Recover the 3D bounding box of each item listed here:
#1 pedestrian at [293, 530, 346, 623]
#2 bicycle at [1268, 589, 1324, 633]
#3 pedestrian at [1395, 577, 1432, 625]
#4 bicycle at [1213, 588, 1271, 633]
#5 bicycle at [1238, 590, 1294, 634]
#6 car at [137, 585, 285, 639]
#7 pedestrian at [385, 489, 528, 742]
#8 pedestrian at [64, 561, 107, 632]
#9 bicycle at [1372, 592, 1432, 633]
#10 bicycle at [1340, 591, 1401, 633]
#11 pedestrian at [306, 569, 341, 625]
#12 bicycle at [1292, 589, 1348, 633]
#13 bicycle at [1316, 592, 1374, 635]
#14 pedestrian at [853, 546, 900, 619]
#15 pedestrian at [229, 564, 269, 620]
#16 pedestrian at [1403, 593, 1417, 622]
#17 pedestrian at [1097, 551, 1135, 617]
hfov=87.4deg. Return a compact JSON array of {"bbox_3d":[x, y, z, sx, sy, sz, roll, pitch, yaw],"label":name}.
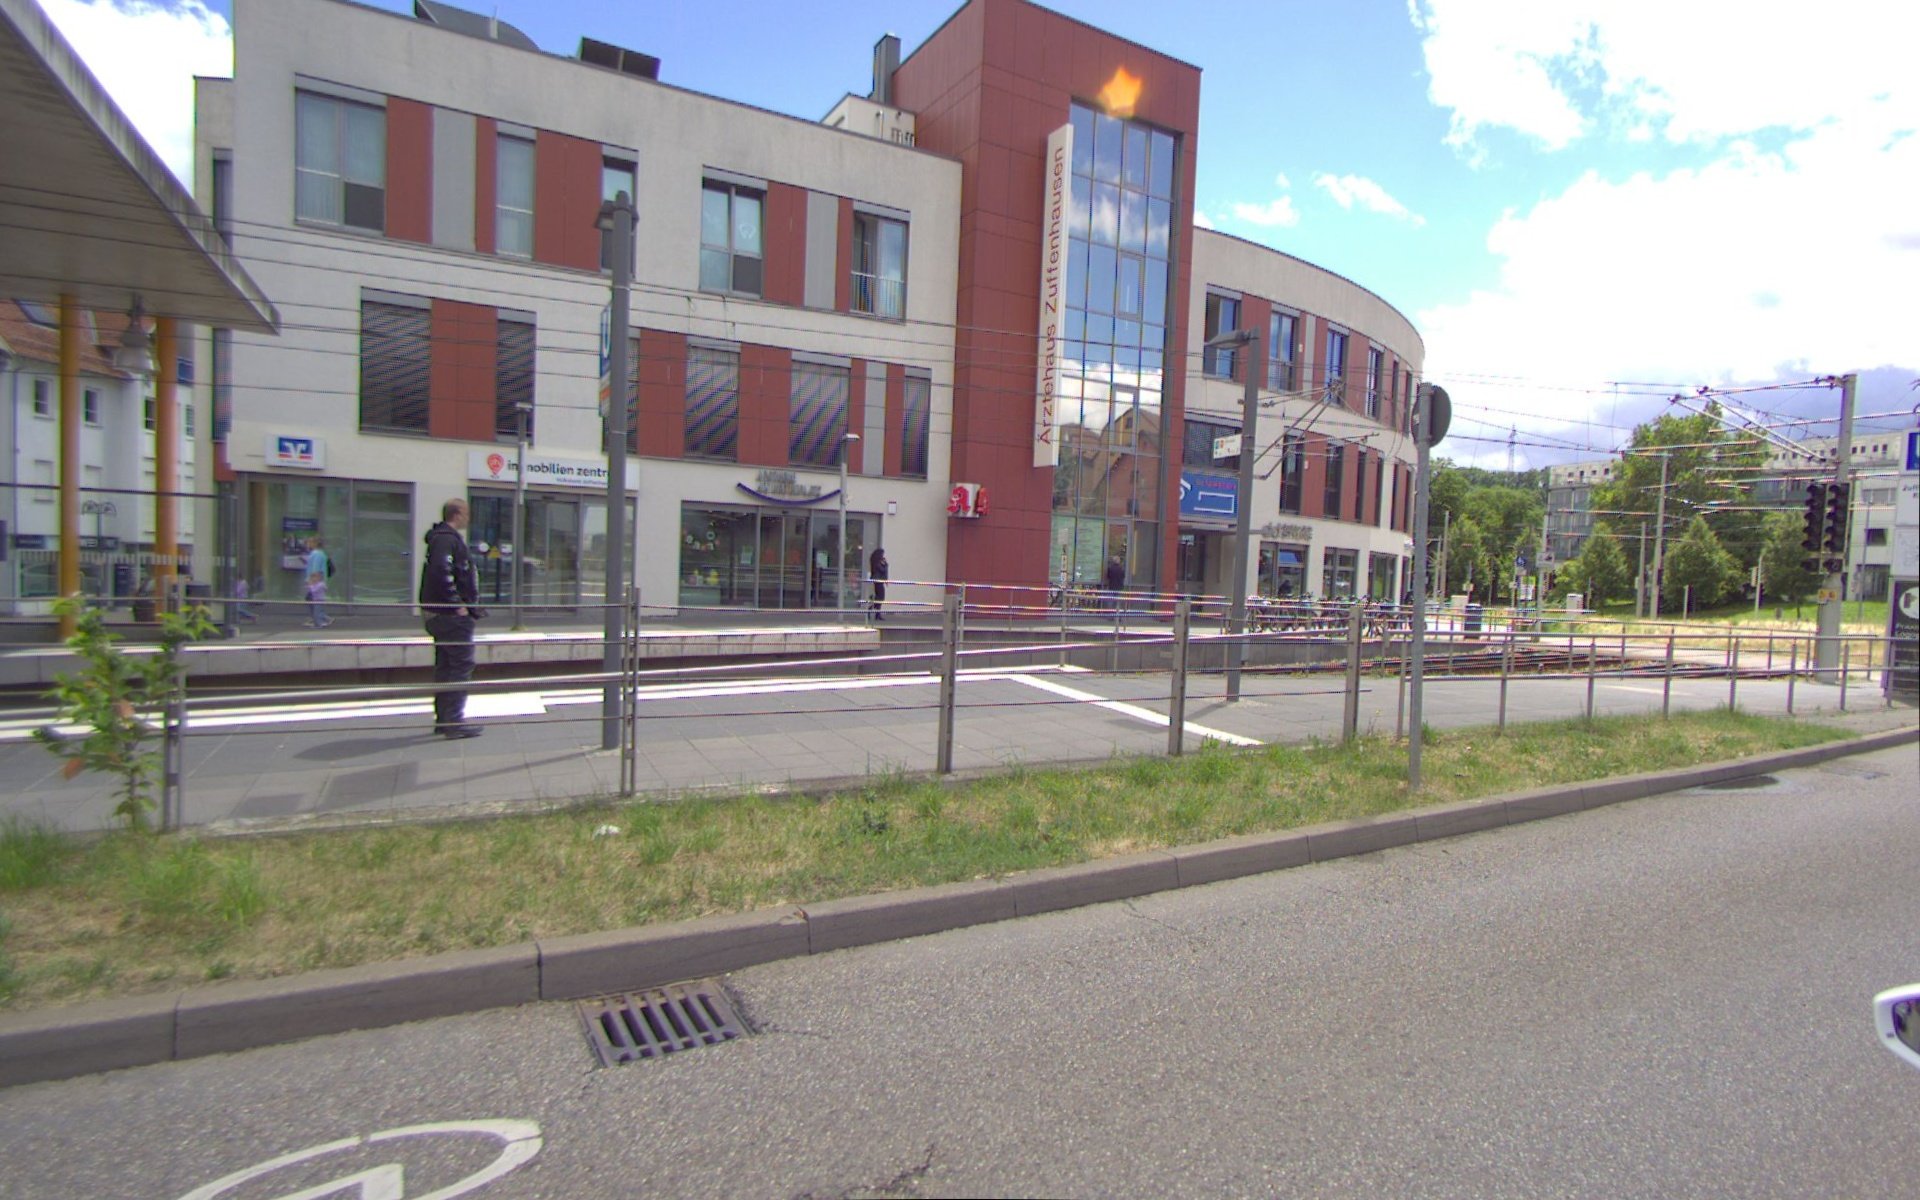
[{"bbox_3d":[-12.251,-0.448,19.220,0.714,1.707,0.682,3,3,-27],"label":"pedestrian"},{"bbox_3d":[8.946,0.275,26.790,0.404,1.115,1.500,3,0,-30],"label":"bicycle"},{"bbox_3d":[16.118,0.036,35.695,0.855,1.592,0.843,2,4,-45],"label":"pedestrian"},{"bbox_3d":[7.214,0.259,25.730,0.404,1.115,1.558,3,0,-30],"label":"bicycle"},{"bbox_3d":[8.025,0.301,26.402,0.404,1.115,1.500,3,0,-30],"label":"bicycle"},{"bbox_3d":[-21.522,0.342,29.052,1.616,1.342,3.715,4,-1,-5],"label":"car"},{"bbox_3d":[-3.963,0.085,7.931,0.725,1.870,0.780,5,5,40],"label":"pedestrian"},{"bbox_3d":[-16.996,-0.069,19.519,0.505,1.322,0.523,6,3,38],"label":"pedestrian"},{"bbox_3d":[12.793,0.355,29.090,0.509,1.115,1.558,3,0,-30],"label":"bicycle"},{"bbox_3d":[11.477,0.322,28.134,0.509,1.115,1.558,3,0,-30],"label":"bicycle"},{"bbox_3d":[-11.884,-0.052,18.766,0.486,1.003,0.362,3,3,-27],"label":"pedestrian"},{"bbox_3d":[9.690,0.288,27.079,0.404,1.115,1.500,3,0,-30],"label":"bicycle"},{"bbox_3d":[10.618,0.355,27.730,0.487,1.115,1.500,3,0,-30],"label":"bicycle"},{"bbox_3d":[-2.028,-0.431,24.290,0.832,1.671,0.653,3,3,-29],"label":"pedestrian"},{"bbox_3d":[-13.834,-0.154,19.552,0.555,1.036,0.362,3,3,-27],"label":"pedestrian"},{"bbox_3d":[24.509,0.396,54.719,0.459,1.551,0.458,5,3,14],"label":"pedestrian"},{"bbox_3d":[4.588,-0.470,29.522,0.730,1.876,0.653,3,3,-28],"label":"pedestrian"}]
